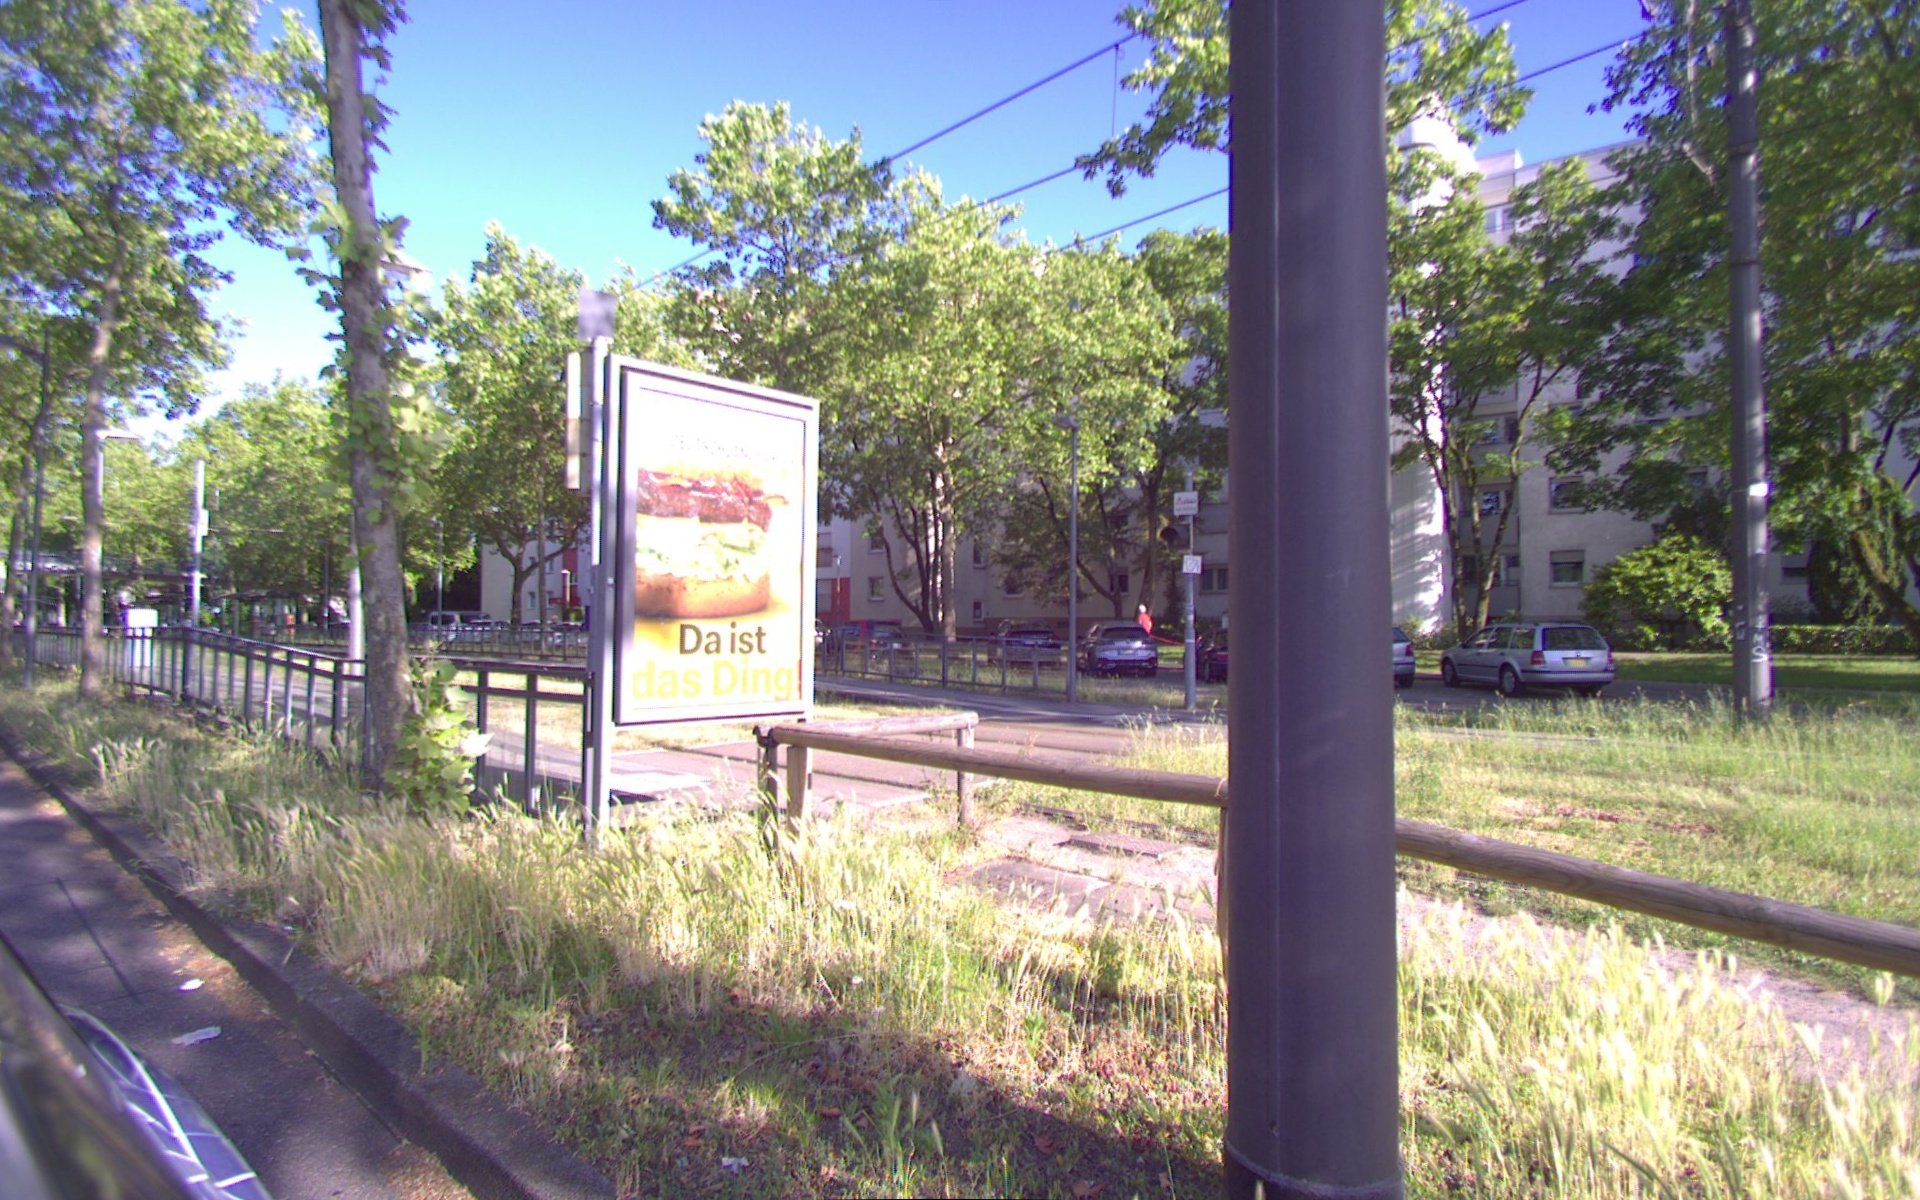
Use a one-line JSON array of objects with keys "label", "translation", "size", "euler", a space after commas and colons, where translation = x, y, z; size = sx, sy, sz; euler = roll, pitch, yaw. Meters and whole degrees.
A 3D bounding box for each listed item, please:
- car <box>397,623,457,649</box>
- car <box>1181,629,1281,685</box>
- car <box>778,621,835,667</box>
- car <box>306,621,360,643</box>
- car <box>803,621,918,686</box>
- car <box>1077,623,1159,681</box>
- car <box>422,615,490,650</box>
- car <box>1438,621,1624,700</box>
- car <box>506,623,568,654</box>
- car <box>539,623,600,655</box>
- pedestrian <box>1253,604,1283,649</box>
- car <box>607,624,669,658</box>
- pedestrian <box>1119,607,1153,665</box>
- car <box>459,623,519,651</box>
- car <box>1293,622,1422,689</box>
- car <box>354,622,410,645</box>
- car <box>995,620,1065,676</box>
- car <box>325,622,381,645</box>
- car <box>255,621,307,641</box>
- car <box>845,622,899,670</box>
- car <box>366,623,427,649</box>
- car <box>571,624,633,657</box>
[{"label": "car", "translation": [-31.327, 2.080, 59.601], "size": [1.633, 1.452, 3.805], "euler": [-1, -1, -2]}, {"label": "car", "translation": [6.680, 1.376, 25.281], "size": [1.445, 1.234, 3.815], "euler": [-1, -1, 0]}, {"label": "car", "translation": [-5.561, 1.567, 37.021], "size": [1.633, 1.522, 3.805], "euler": [-1, -1, -2]}, {"label": "car", "translation": [-44.975, 2.284, 72.682], "size": [1.633, 1.452, 3.805], "euler": [-1, -1, -2]}, {"label": "car", "translation": [-2.649, 1.366, 26.638], "size": [2.817, 1.569, 1.558], "euler": [-2, -1, 44]}, {"label": "car", "translation": [4.223, 1.362, 27.523], "size": [1.633, 1.413, 3.803], "euler": [-1, -1, 0]}, {"label": "car", "translation": [-28.449, 1.822, 57.256], "size": [1.814, 1.888, 4.323], "euler": [-1, -1, -2]}, {"label": "car", "translation": [11.479, 1.159, 20.668], "size": [1.559, 1.413, 3.906], "euler": [-1, -1, 0]}, {"label": "car", "translation": [-21.333, 1.937, 51.186], "size": [1.633, 1.452, 3.805], "euler": [-1, -1, -2]}, {"label": "car", "translation": [-19.041, 1.894, 49.542], "size": [1.633, 1.452, 3.805], "euler": [-1, -1, -2]}, {"label": "pedestrian", "translation": [11.221, 0.956, 36.884], "size": [0.786, 1.635, 0.755], "euler": [-1, 0, 39]}, {"label": "car", "translation": [-14.058, 1.763, 44.339], "size": [1.633, 1.366, 3.805], "euler": [-1, -1, -2]}, {"label": "pedestrian", "translation": [5.489, 1.110, 31.584], "size": [0.786, 1.745, 0.755], "euler": [-1, 0, 39]}, {"label": "car", "translation": [-25.867, 1.997, 55.662], "size": [1.633, 1.452, 3.805], "euler": [-1, -1, -2]}, {"label": "car", "translation": [9.148, 1.237, 23.594], "size": [1.559, 1.413, 3.638], "euler": [-1, -1, 0]}, {"label": "car", "translation": [-37.881, 2.169, 66.380], "size": [1.633, 1.452, 3.805], "euler": [-1, -1, -2]}, {"label": "car", "translation": [1.989, 1.353, 29.670], "size": [1.633, 1.522, 3.805], "euler": [-1, -1, -2]}, {"label": "car", "translation": [-40.835, 2.224, 68.193], "size": [1.633, 1.452, 3.805], "euler": [-1, -1, -2]}, {"label": "car", "translation": [-53.047, 2.398, 79.154], "size": [1.633, 1.452, 3.805], "euler": [-1, -1, -2]}, {"label": "car", "translation": [-2.971, 1.524, 34.652], "size": [1.633, 1.522, 3.805], "euler": [-1, -1, -2]}, {"label": "car", "translation": [-33.690, 2.111, 60.604], "size": [1.633, 1.452, 3.805], "euler": [-1, -1, -2]}, {"label": "car", "translation": [-16.622, 1.852, 47.162], "size": [1.633, 1.452, 3.805], "euler": [-1, -1, -2]}]
